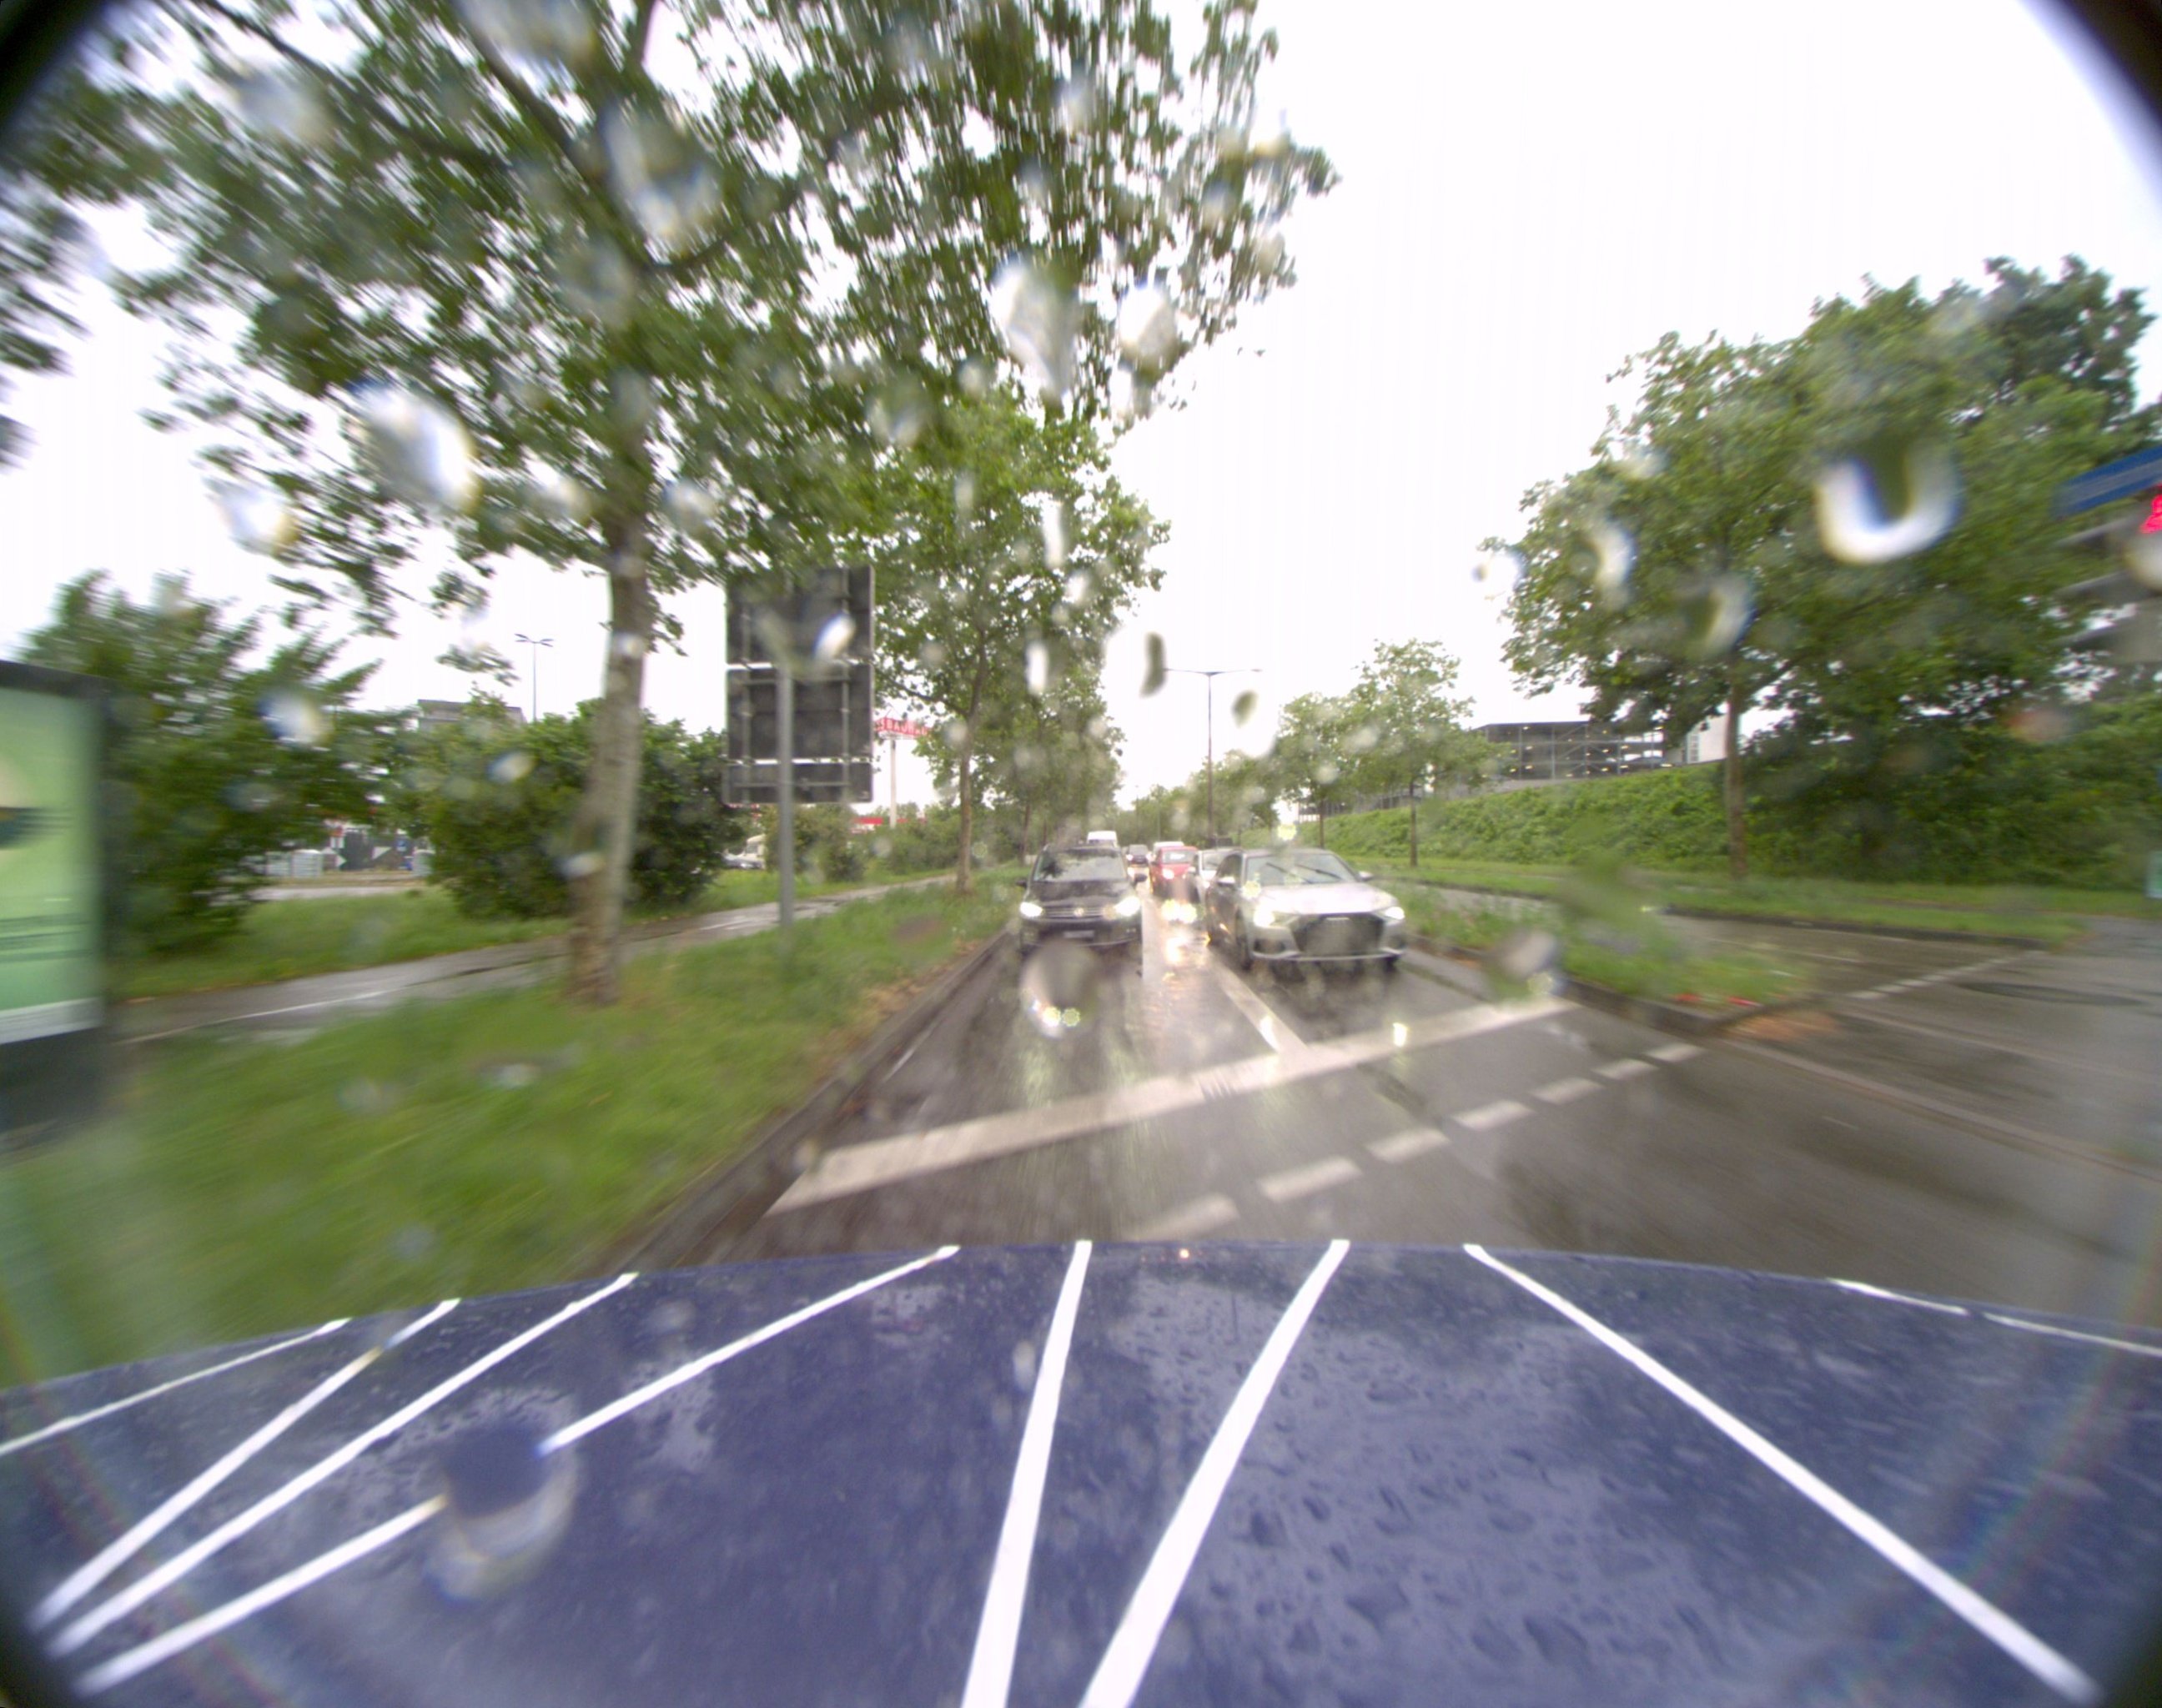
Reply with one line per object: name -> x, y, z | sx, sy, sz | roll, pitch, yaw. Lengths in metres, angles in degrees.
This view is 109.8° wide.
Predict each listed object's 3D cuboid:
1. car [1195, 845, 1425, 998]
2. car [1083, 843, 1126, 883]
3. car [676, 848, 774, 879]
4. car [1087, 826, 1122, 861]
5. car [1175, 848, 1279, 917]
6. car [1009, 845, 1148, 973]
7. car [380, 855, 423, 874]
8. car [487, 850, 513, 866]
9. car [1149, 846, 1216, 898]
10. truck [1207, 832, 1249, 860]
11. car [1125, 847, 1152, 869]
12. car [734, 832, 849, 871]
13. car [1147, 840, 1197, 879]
car -> 2.813, 0.699, 10.539 | 1.773, 1.565, 4.820 | -3, 1, 1
car -> 1.108, 0.389, 36.148 | 1.831, 1.737, 4.147 | -3, 1, 1
car -> -18.773, 0.501, 40.202 | 4.271, 1.544, 1.929 | 0, 1, -3
car -> 1.514, -0.703, 47.657 | 1.998, 2.002, 5.131 | -3, 2, 3
car -> 3.335, 0.591, 18.095 | 1.683, 1.369, 4.010 | -3, 1, 1
car -> -0.017, 0.703, 12.364 | 1.771, 1.596, 4.626 | -2, 1, 0
car -> -60.136, 0.862, 67.319 | 1.933, 1.543, 4.263 | -1, 1, -29
car -> -65.023, 0.431, 85.066 | 2.006, 1.667, 4.262 | -1, 1, -33
car -> 3.177, 0.499, 24.468 | 1.723, 1.456, 4.092 | -3, 1, 2
truck -> 12.940, -0.761, 67.467 | 2.480, 2.351, 6.866 | 0, 1, 0
car -> 4.374, 0.279, 58.230 | 1.715, 1.494, 3.999 | -2, 1, 0
car -> -18.308, -0.189, 48.402 | 6.424, 2.349, 2.390 | 0, 1, -7
car -> 4.104, 0.191, 34.824 | 1.831, 1.603, 4.147 | -3, 1, 1
